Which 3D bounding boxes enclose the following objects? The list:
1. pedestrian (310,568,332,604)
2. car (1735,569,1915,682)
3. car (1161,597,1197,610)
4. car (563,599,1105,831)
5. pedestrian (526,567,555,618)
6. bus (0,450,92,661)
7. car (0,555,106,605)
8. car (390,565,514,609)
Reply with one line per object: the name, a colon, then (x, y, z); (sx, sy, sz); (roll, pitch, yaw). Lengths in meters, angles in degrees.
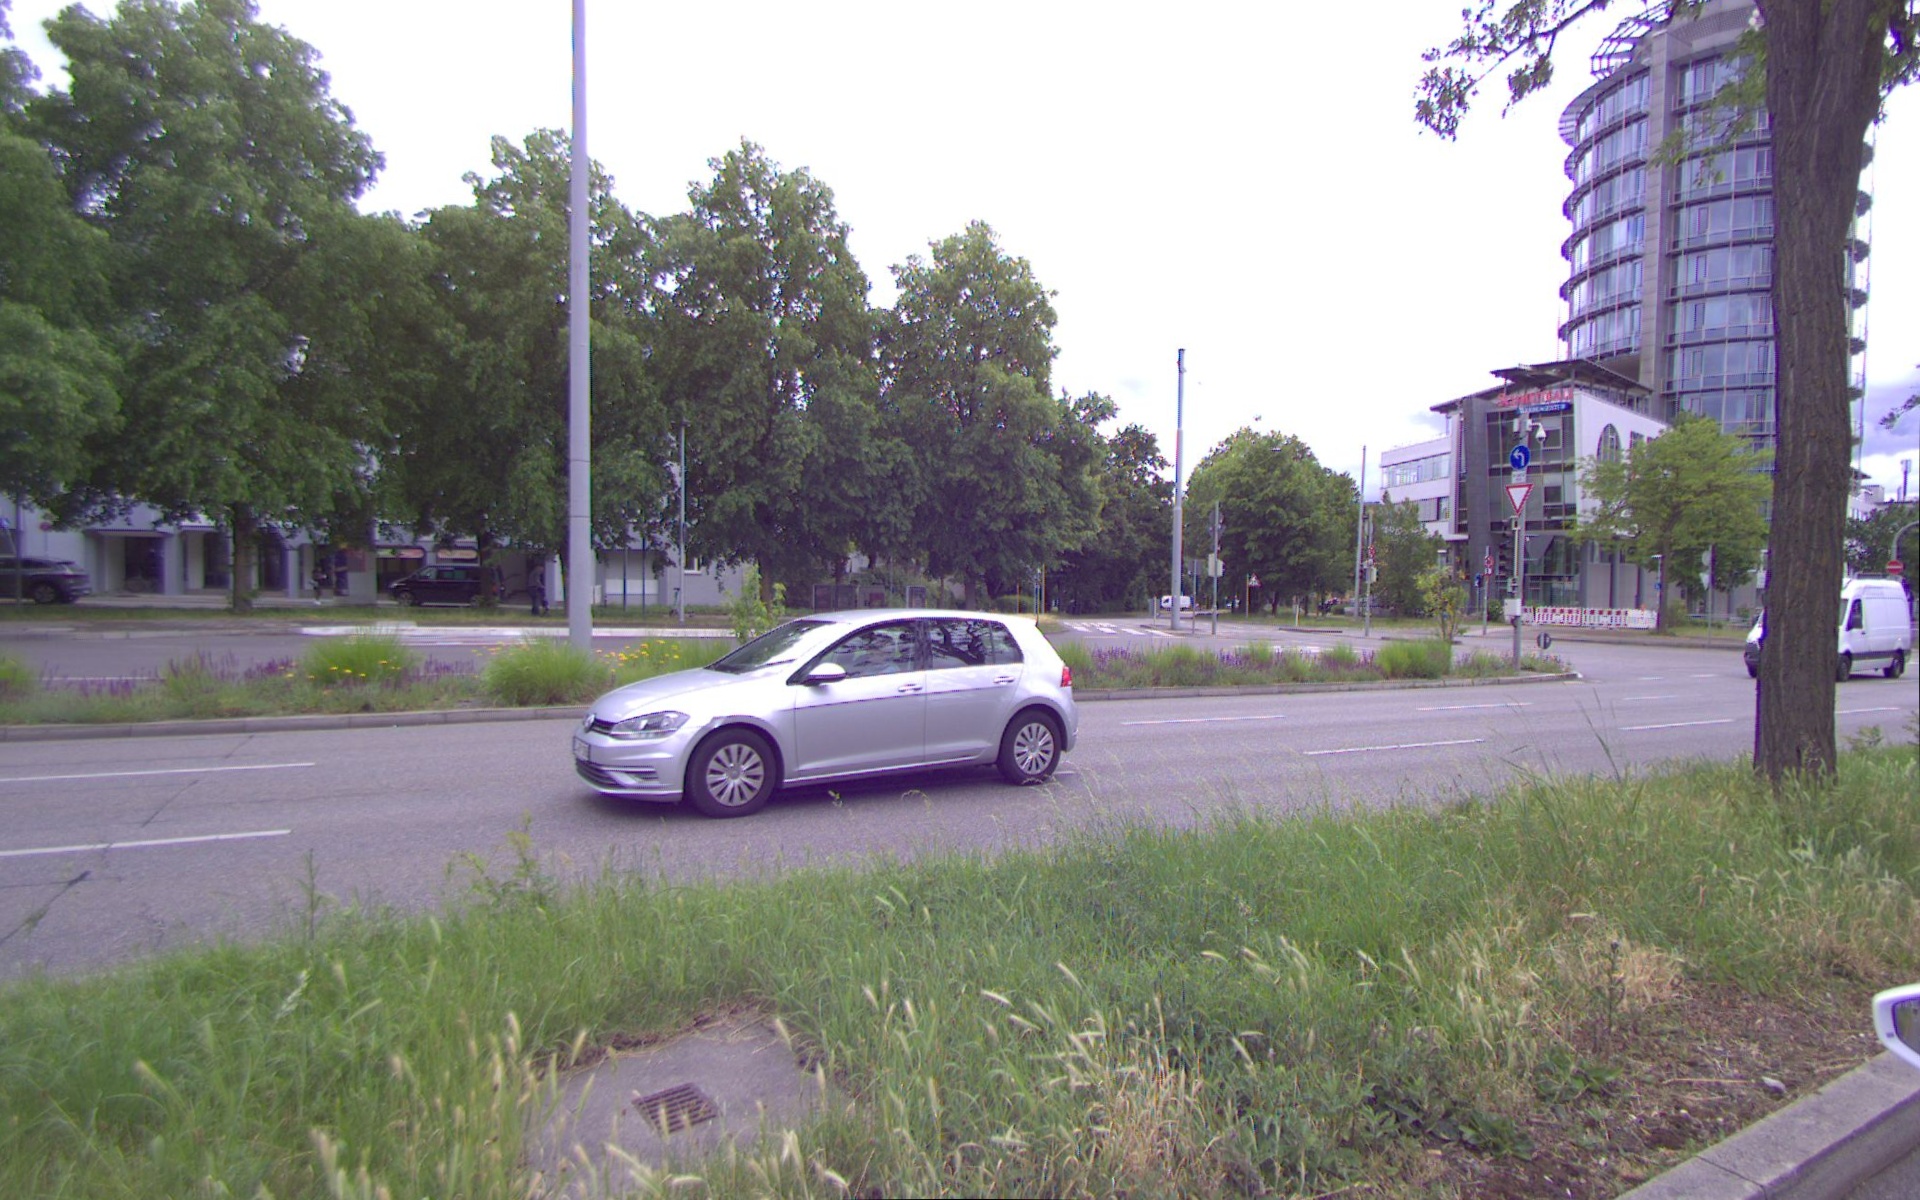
pedestrian: (-28.275, -0.629, 44.440); (0.658, 1.568, 0.656); (1, 1, -21)
car: (23.064, 0.634, 26.703); (5.812, 2.669, 1.982); (1, 2, -33)
car: (38.010, 0.576, 174.398); (5.881, 2.040, 1.995); (1, 1, -13)
car: (-0.935, 0.763, 8.272); (4.090, 1.464, 1.743); (1, 0, -33)
pedestrian: (-14.292, -0.239, 34.217); (0.847, 1.711, 0.453); (1, 1, -30)
bus: (-20.708, -0.902, 16.102); (9.778, 3.502, 3.021); (1, 2, -26)
car: (-31.707, -0.699, 33.749); (4.190, 1.602, 1.987); (1, 1, -26)
car: (-23.337, -0.586, 46.338); (4.736, 1.857, 1.994); (1, 1, -15)
